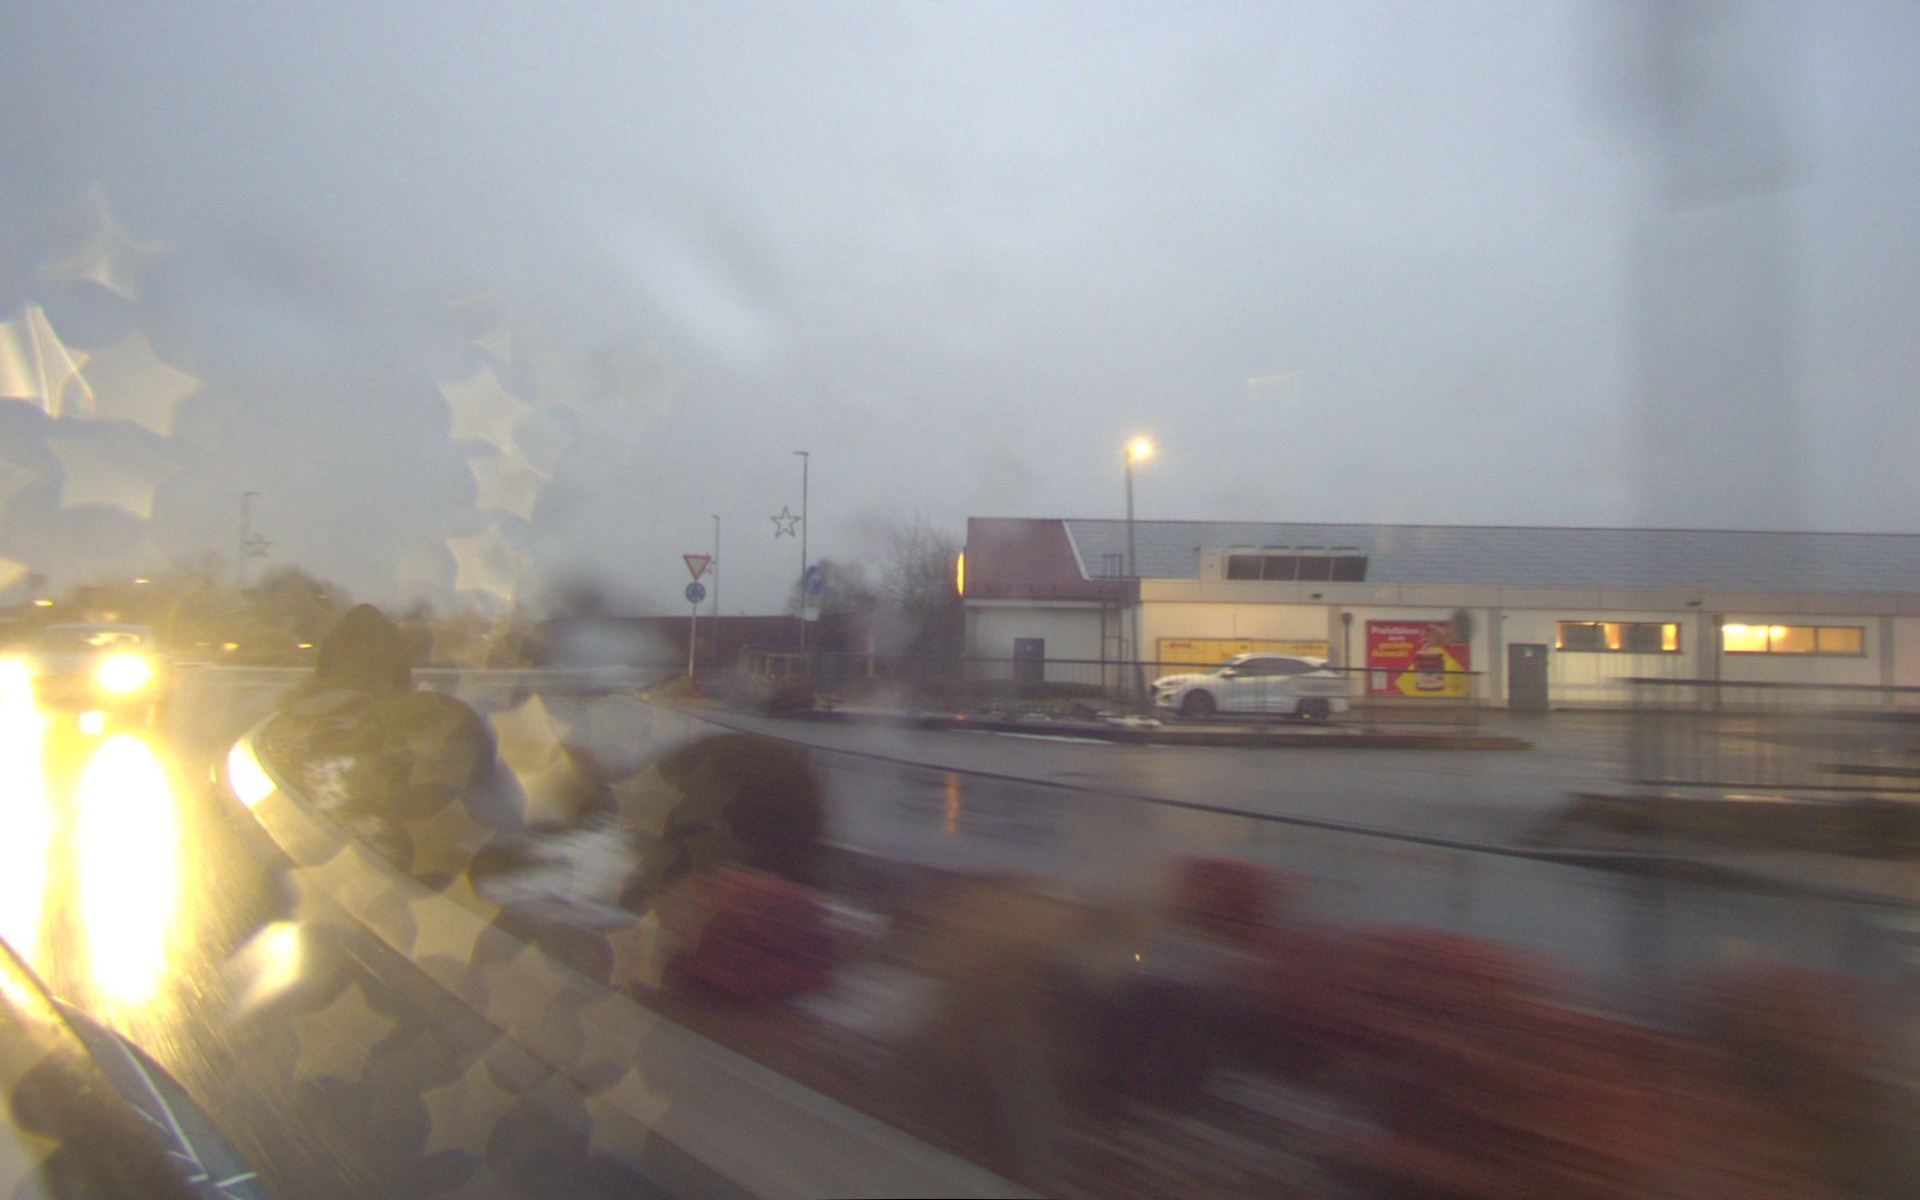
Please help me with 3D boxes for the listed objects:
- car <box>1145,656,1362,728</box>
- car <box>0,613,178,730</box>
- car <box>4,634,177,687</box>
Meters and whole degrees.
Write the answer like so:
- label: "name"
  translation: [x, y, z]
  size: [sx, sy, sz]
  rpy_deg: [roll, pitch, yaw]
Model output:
- label: "car"
  translation: [6.979, 2.187, 24.415]
  size: [4.722, 1.548, 1.687]
  rpy_deg: [1, -3, 3]
- label: "car"
  translation: [-14.261, 1.131, 16.655]
  size: [1.747, 1.655, 4.433]
  rpy_deg: [3, -4, -33]
- label: "car"
  translation: [-25.645, 1.759, 29.892]
  size: [3.963, 1.484, 1.990]
  rpy_deg: [0, -3, 15]
